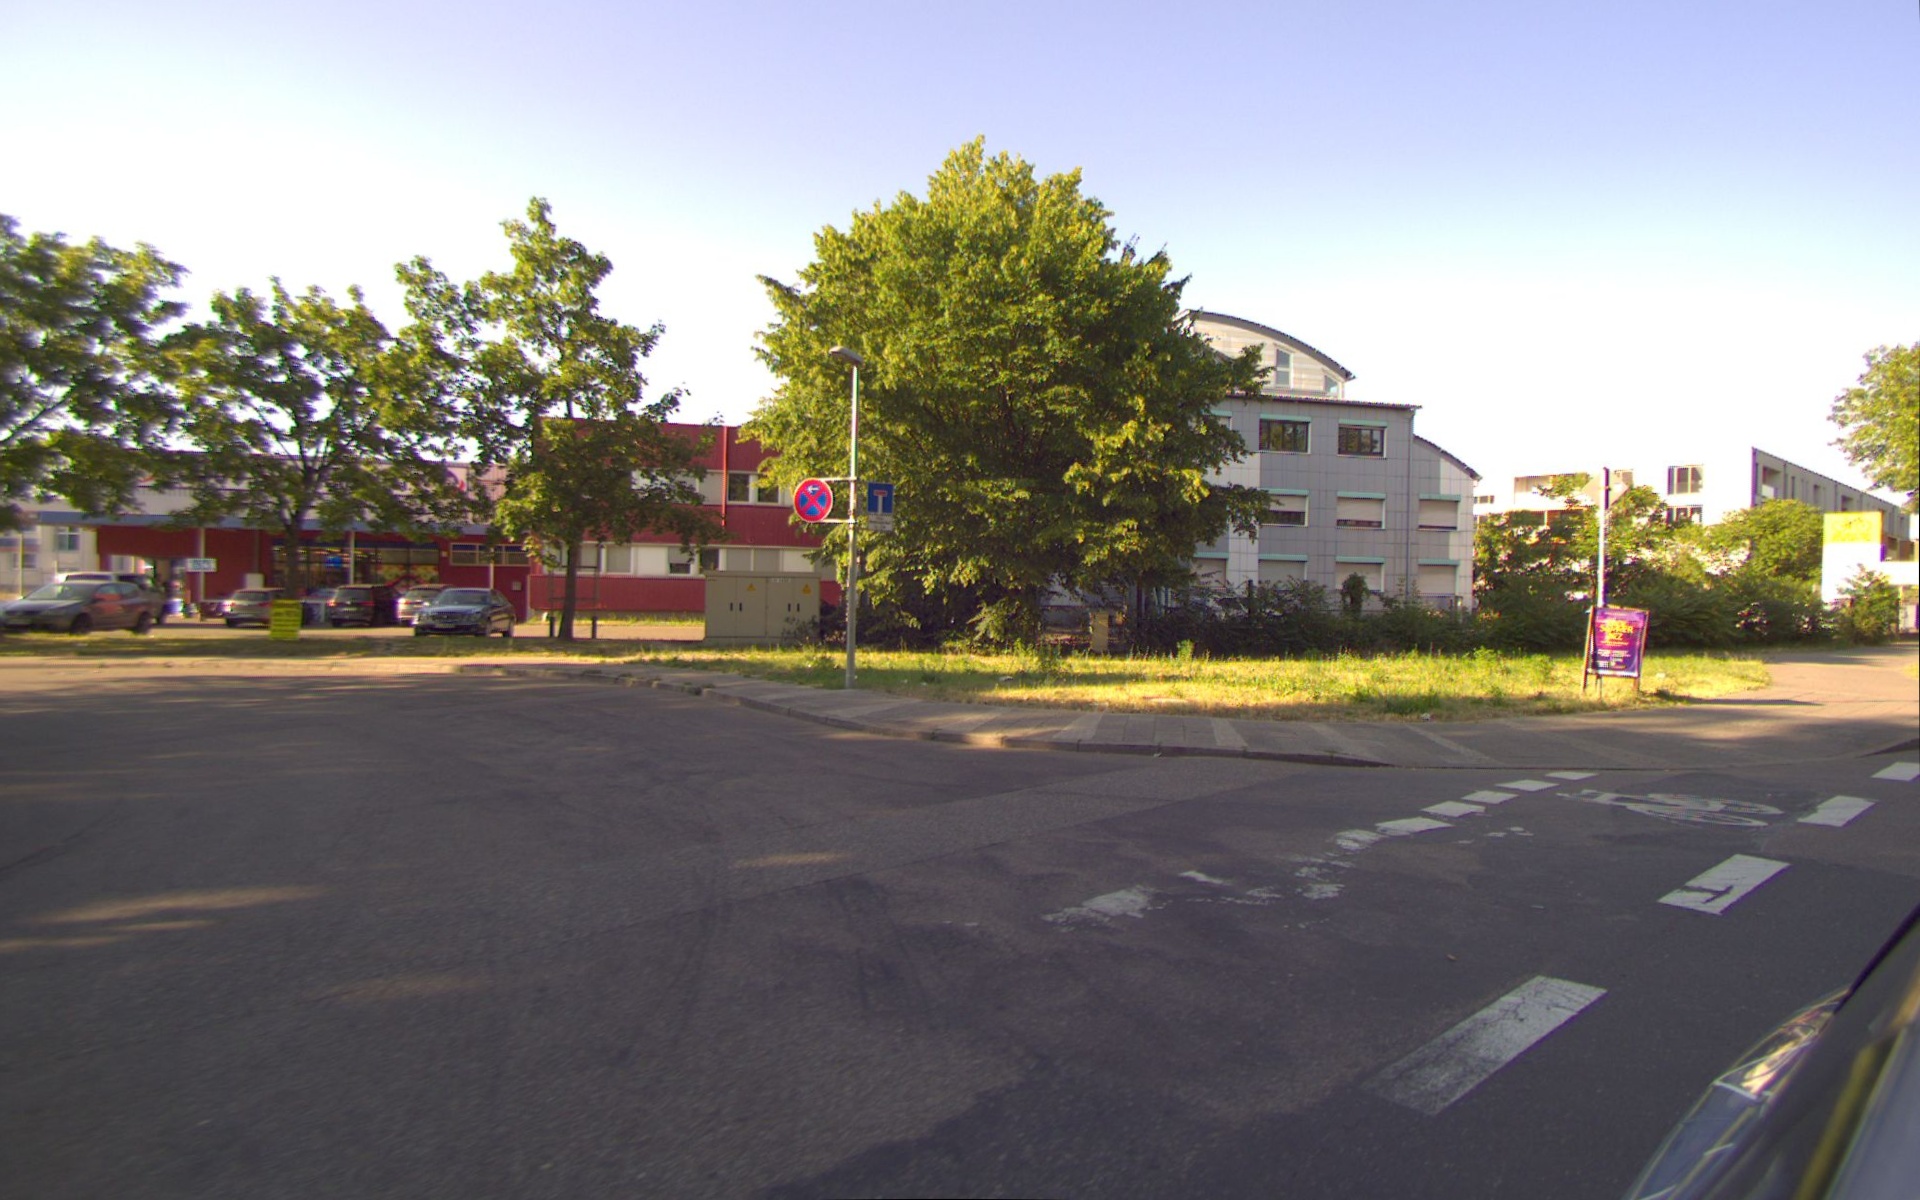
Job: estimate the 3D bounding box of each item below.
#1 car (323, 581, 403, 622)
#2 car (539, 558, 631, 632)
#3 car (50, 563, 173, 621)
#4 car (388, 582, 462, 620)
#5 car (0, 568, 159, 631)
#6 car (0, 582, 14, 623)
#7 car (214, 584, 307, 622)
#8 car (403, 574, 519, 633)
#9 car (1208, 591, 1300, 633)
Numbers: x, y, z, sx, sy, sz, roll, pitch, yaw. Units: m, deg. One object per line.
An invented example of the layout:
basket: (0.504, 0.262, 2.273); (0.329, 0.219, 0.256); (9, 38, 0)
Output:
car: (-23.517, 0.084, 40.007); (1.650, 1.521, 3.559); (0, -1, -12)
car: (-10.112, -0.168, 27.594); (1.671, 1.841, 4.454); (1, 1, -12)
car: (-30.967, -0.225, 37.116); (1.852, 2.000, 4.656); (0, -1, -18)
car: (-21.020, 0.077, 39.869); (1.650, 1.444, 3.559); (0, -1, -12)
car: (-22.967, 0.032, 26.152); (1.752, 1.495, 4.202); (0, -1, -9)
car: (-36.105, 0.076, 36.099); (1.650, 1.501, 3.951); (0, -1, -12)
car: (-26.456, 0.139, 38.407); (1.650, 1.368, 3.559); (0, -1, -12)
car: (-13.786, 0.126, 28.252); (1.752, 1.495, 4.675); (0, -1, -11)
car: (12.442, 0.449, 43.131); (1.869, 1.593, 4.010); (0, 2, -17)
